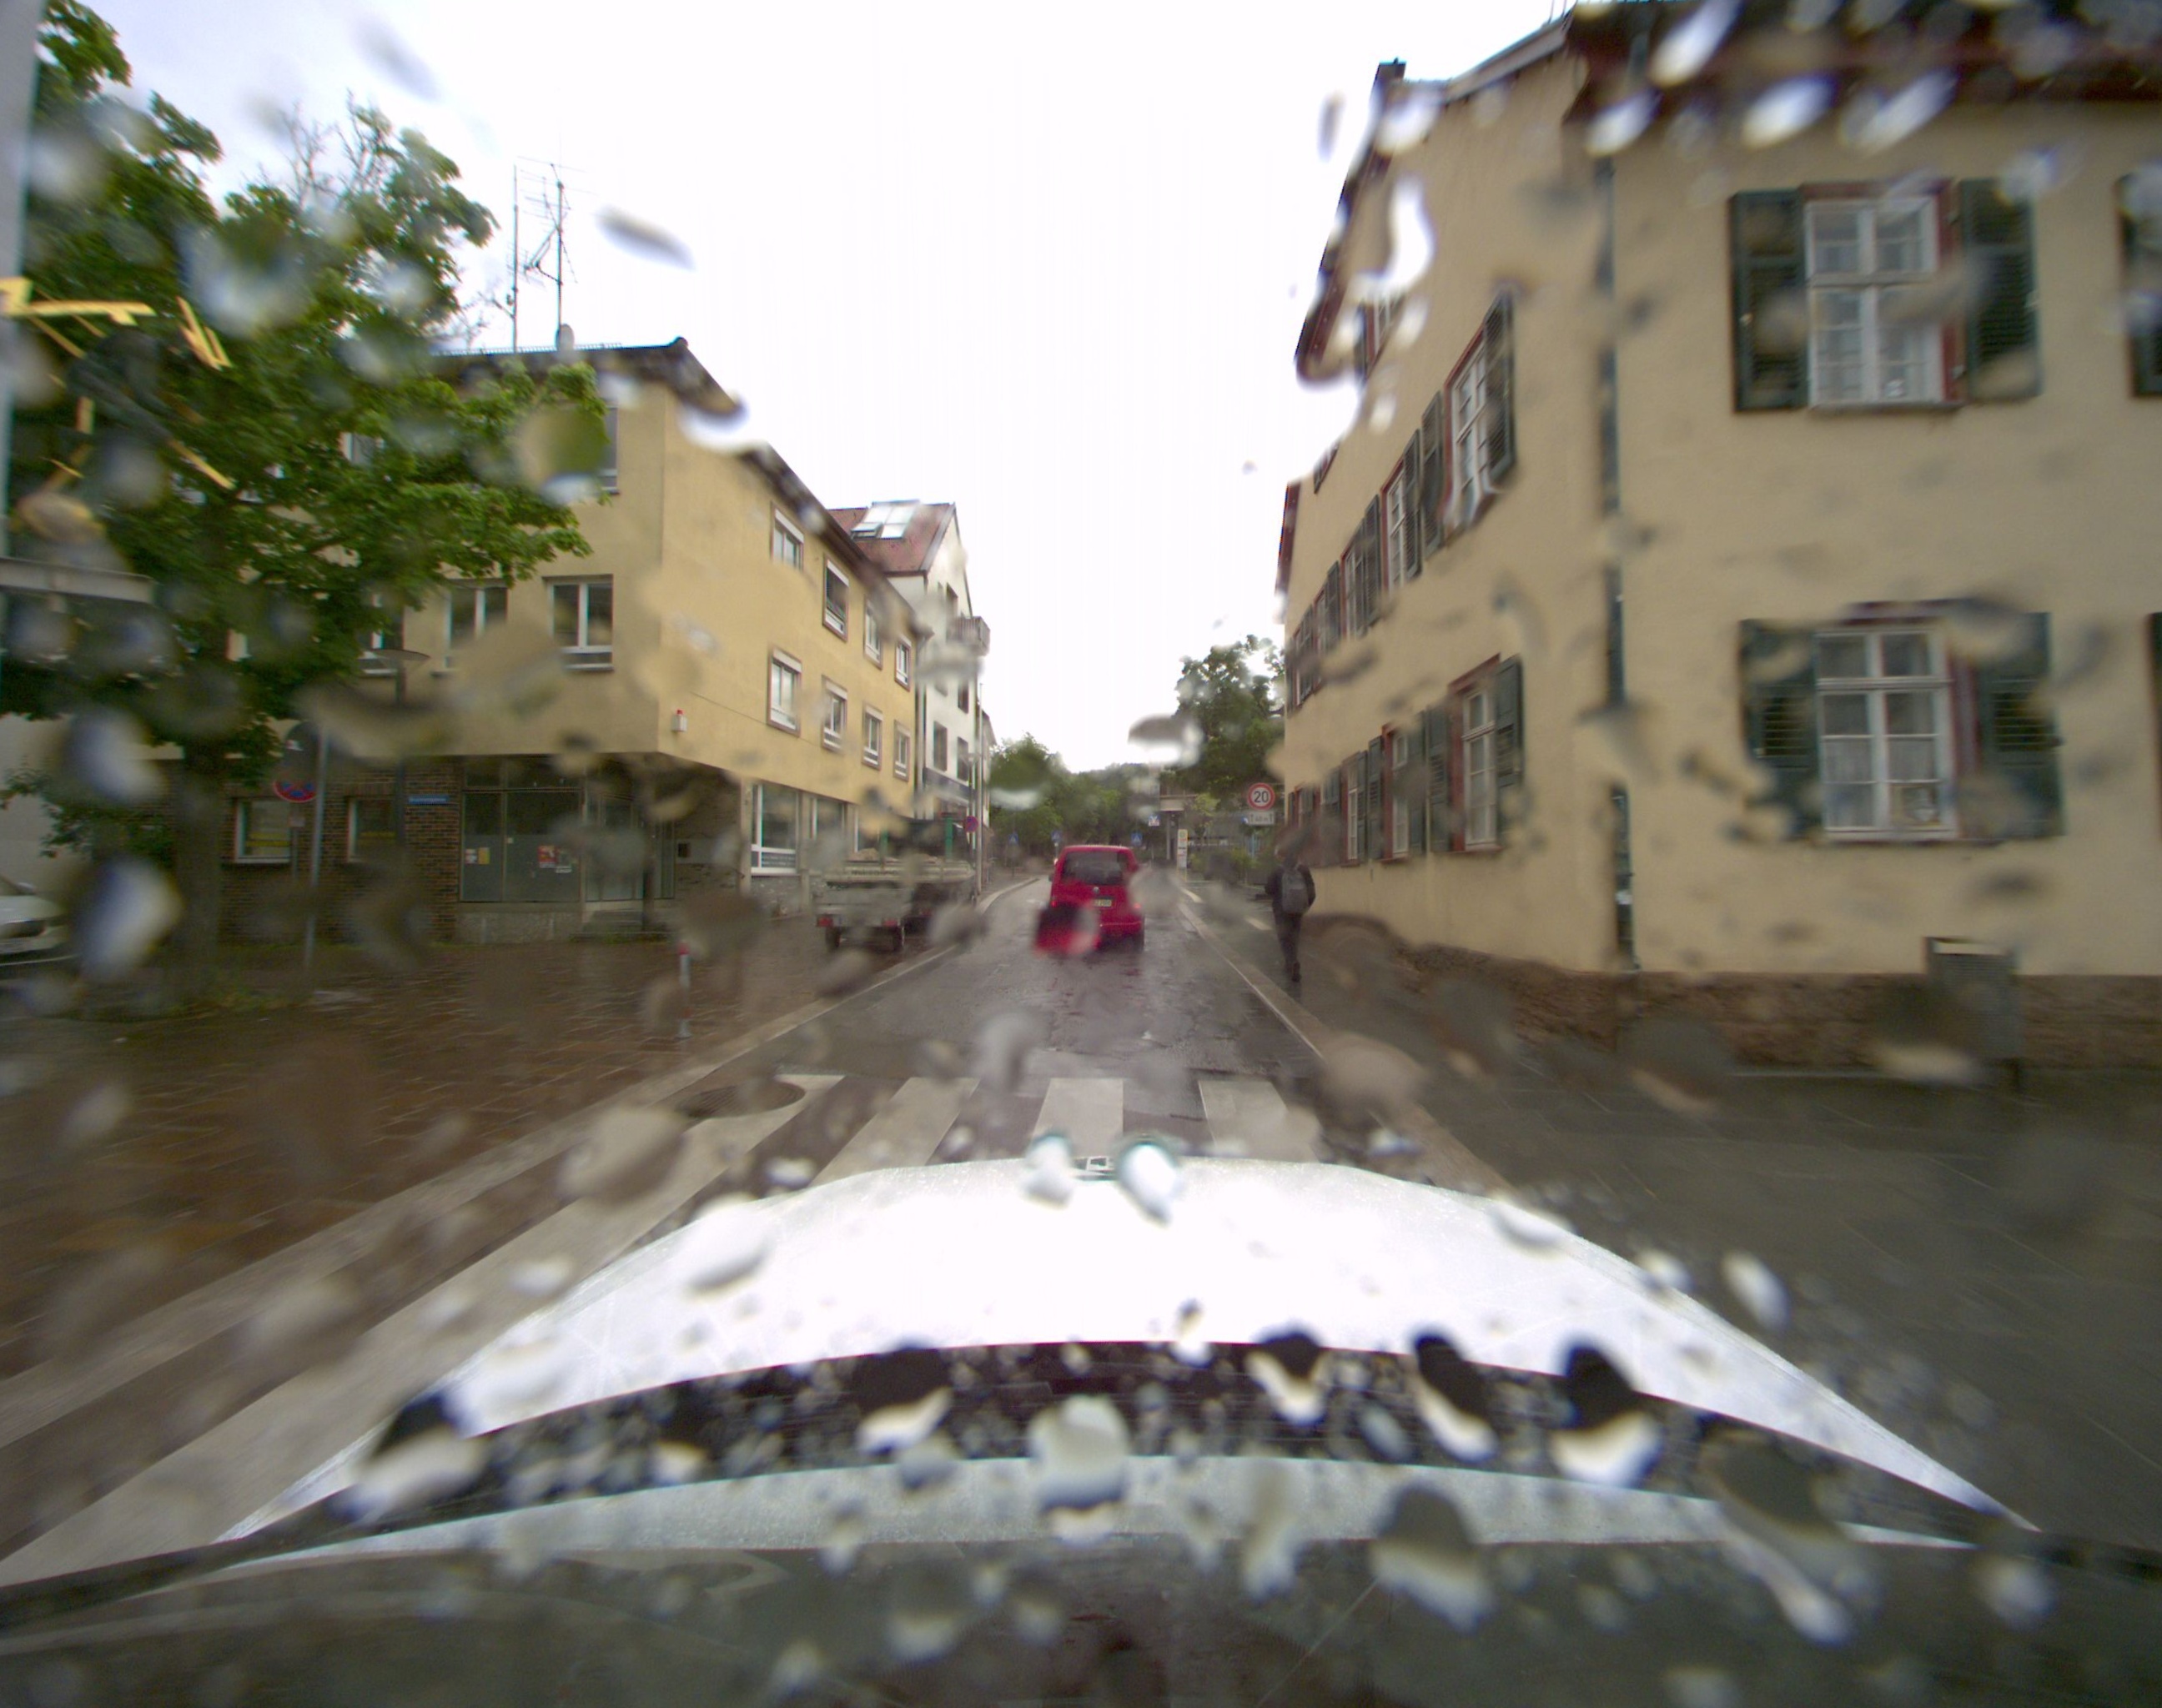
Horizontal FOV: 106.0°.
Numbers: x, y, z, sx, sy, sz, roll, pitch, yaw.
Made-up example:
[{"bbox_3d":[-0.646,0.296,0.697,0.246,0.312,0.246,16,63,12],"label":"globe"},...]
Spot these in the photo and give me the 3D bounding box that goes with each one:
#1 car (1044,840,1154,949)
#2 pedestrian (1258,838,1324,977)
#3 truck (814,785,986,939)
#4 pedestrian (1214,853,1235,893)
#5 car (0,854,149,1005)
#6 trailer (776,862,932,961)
[{"bbox_3d":[0.301,0.708,15.951,1.856,1.830,4.184,0,-1,0],"label":"car"},{"bbox_3d":[2.654,0.651,10.377,0.710,1.693,0.870,-1,0,8],"label":"pedestrian"},{"bbox_3d":[-3.715,0.112,18.278,2.467,2.795,6.596,-1,1,-2],"label":"truck"},{"bbox_3d":[5.772,0.762,32.786,0.724,1.617,0.695,-1,-1,6],"label":"pedestrian"},{"bbox_3d":[-13.076,0.830,9.055,3.958,1.564,1.973,-1,0,15],"label":"car"},{"bbox_3d":[-3.593,0.848,13.423,1.723,1.346,3.159,-1,1,-2],"label":"trailer"}]
